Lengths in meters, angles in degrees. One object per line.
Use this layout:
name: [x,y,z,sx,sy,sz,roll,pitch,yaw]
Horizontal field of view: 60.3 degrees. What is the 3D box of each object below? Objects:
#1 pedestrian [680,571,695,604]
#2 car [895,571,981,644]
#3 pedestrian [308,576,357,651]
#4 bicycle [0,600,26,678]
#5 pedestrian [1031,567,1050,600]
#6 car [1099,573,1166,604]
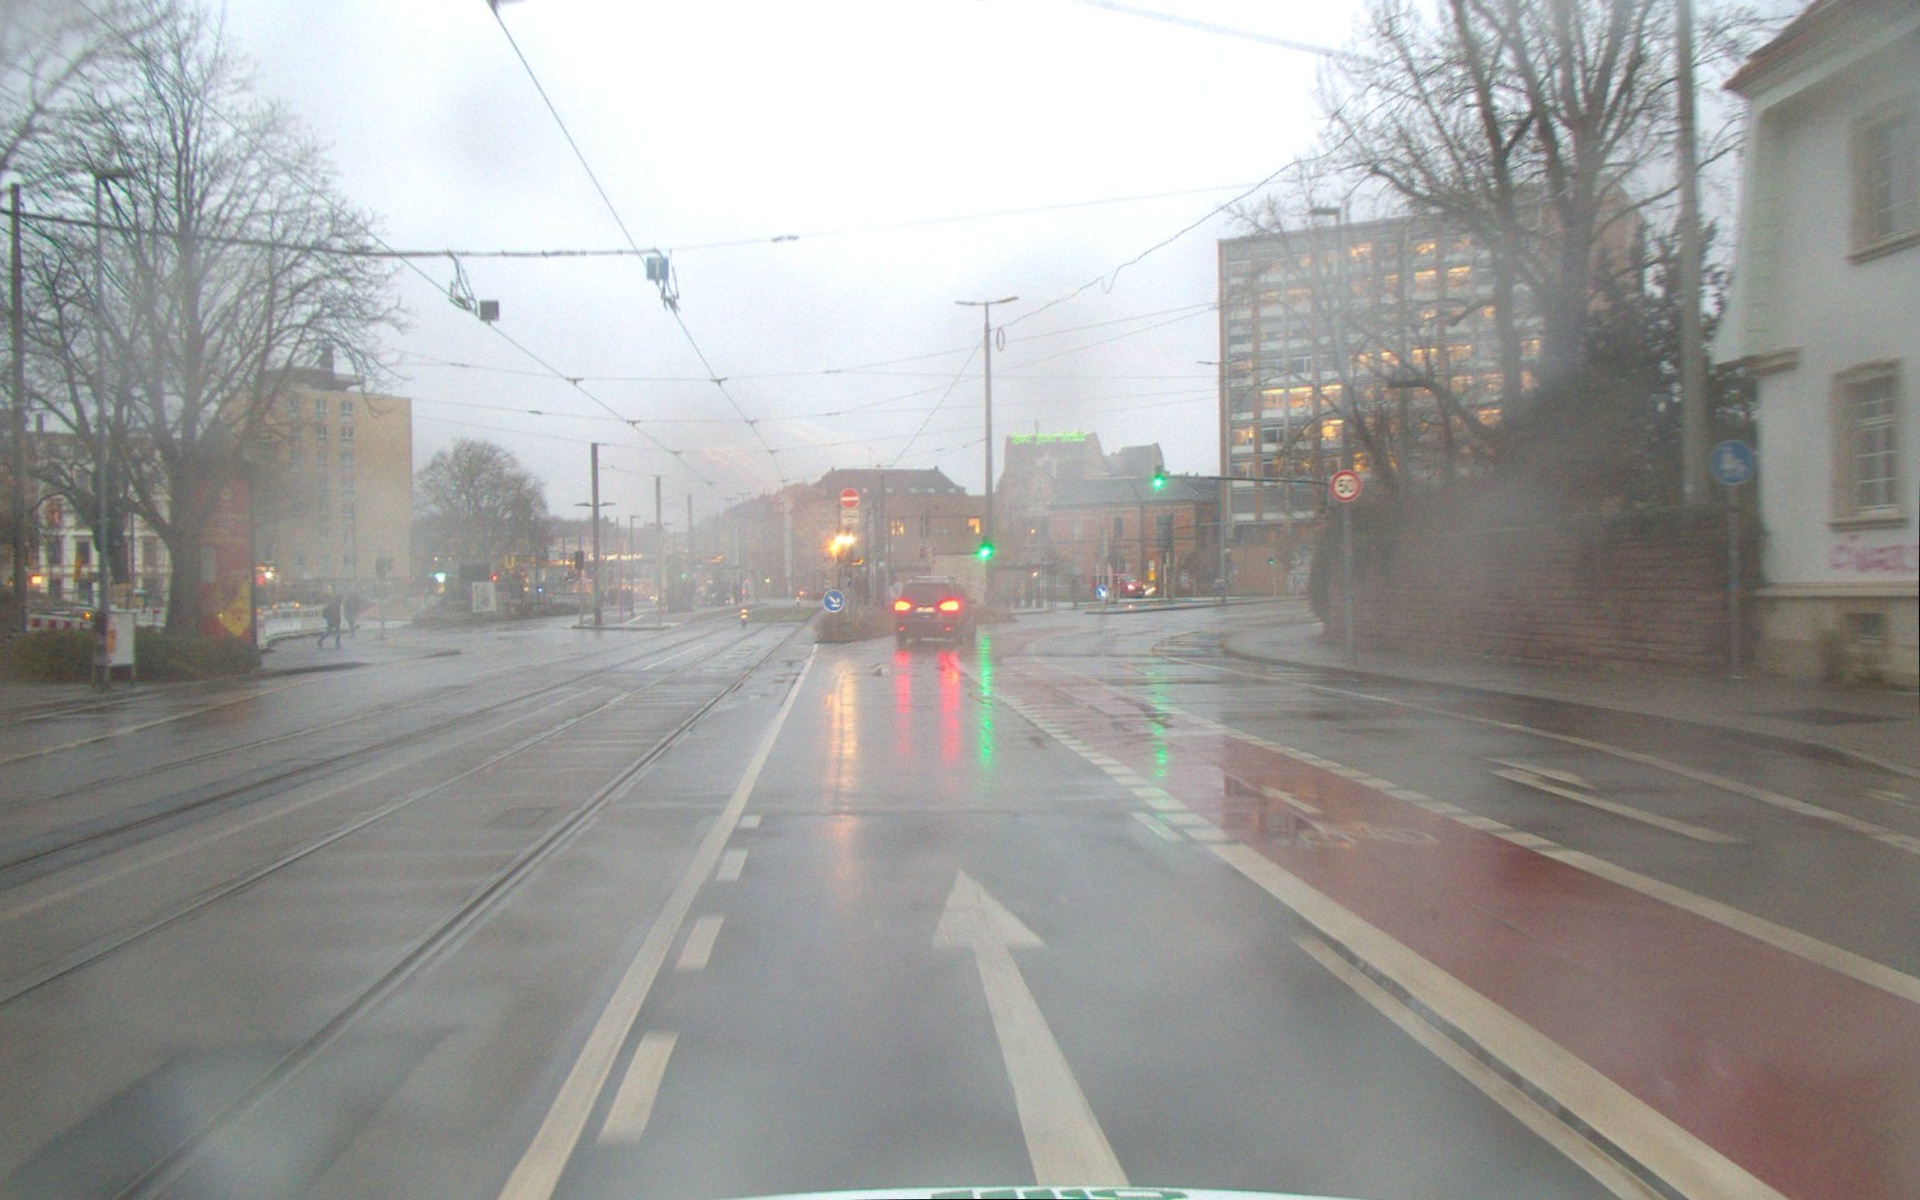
pedestrian: [-14.810,-0.679,89.874,0.698,1.788,0.717,1,0,-4]
car: [-0.553,0.158,45.497,1.612,1.850,4.004,1,2,10]
pedestrian: [-20.476,0.446,54.015,0.974,2.412,1.063,1,0,26]
bicycle: [-22.185,0.862,38.009,0.707,1.718,2.391,2,0,-42]
pedestrian: [4.241,-0.855,87.348,0.661,1.703,0.728,1,0,34]
car: [13.323,-0.883,127.822,2.239,2.321,4.960,2,0,-42]
